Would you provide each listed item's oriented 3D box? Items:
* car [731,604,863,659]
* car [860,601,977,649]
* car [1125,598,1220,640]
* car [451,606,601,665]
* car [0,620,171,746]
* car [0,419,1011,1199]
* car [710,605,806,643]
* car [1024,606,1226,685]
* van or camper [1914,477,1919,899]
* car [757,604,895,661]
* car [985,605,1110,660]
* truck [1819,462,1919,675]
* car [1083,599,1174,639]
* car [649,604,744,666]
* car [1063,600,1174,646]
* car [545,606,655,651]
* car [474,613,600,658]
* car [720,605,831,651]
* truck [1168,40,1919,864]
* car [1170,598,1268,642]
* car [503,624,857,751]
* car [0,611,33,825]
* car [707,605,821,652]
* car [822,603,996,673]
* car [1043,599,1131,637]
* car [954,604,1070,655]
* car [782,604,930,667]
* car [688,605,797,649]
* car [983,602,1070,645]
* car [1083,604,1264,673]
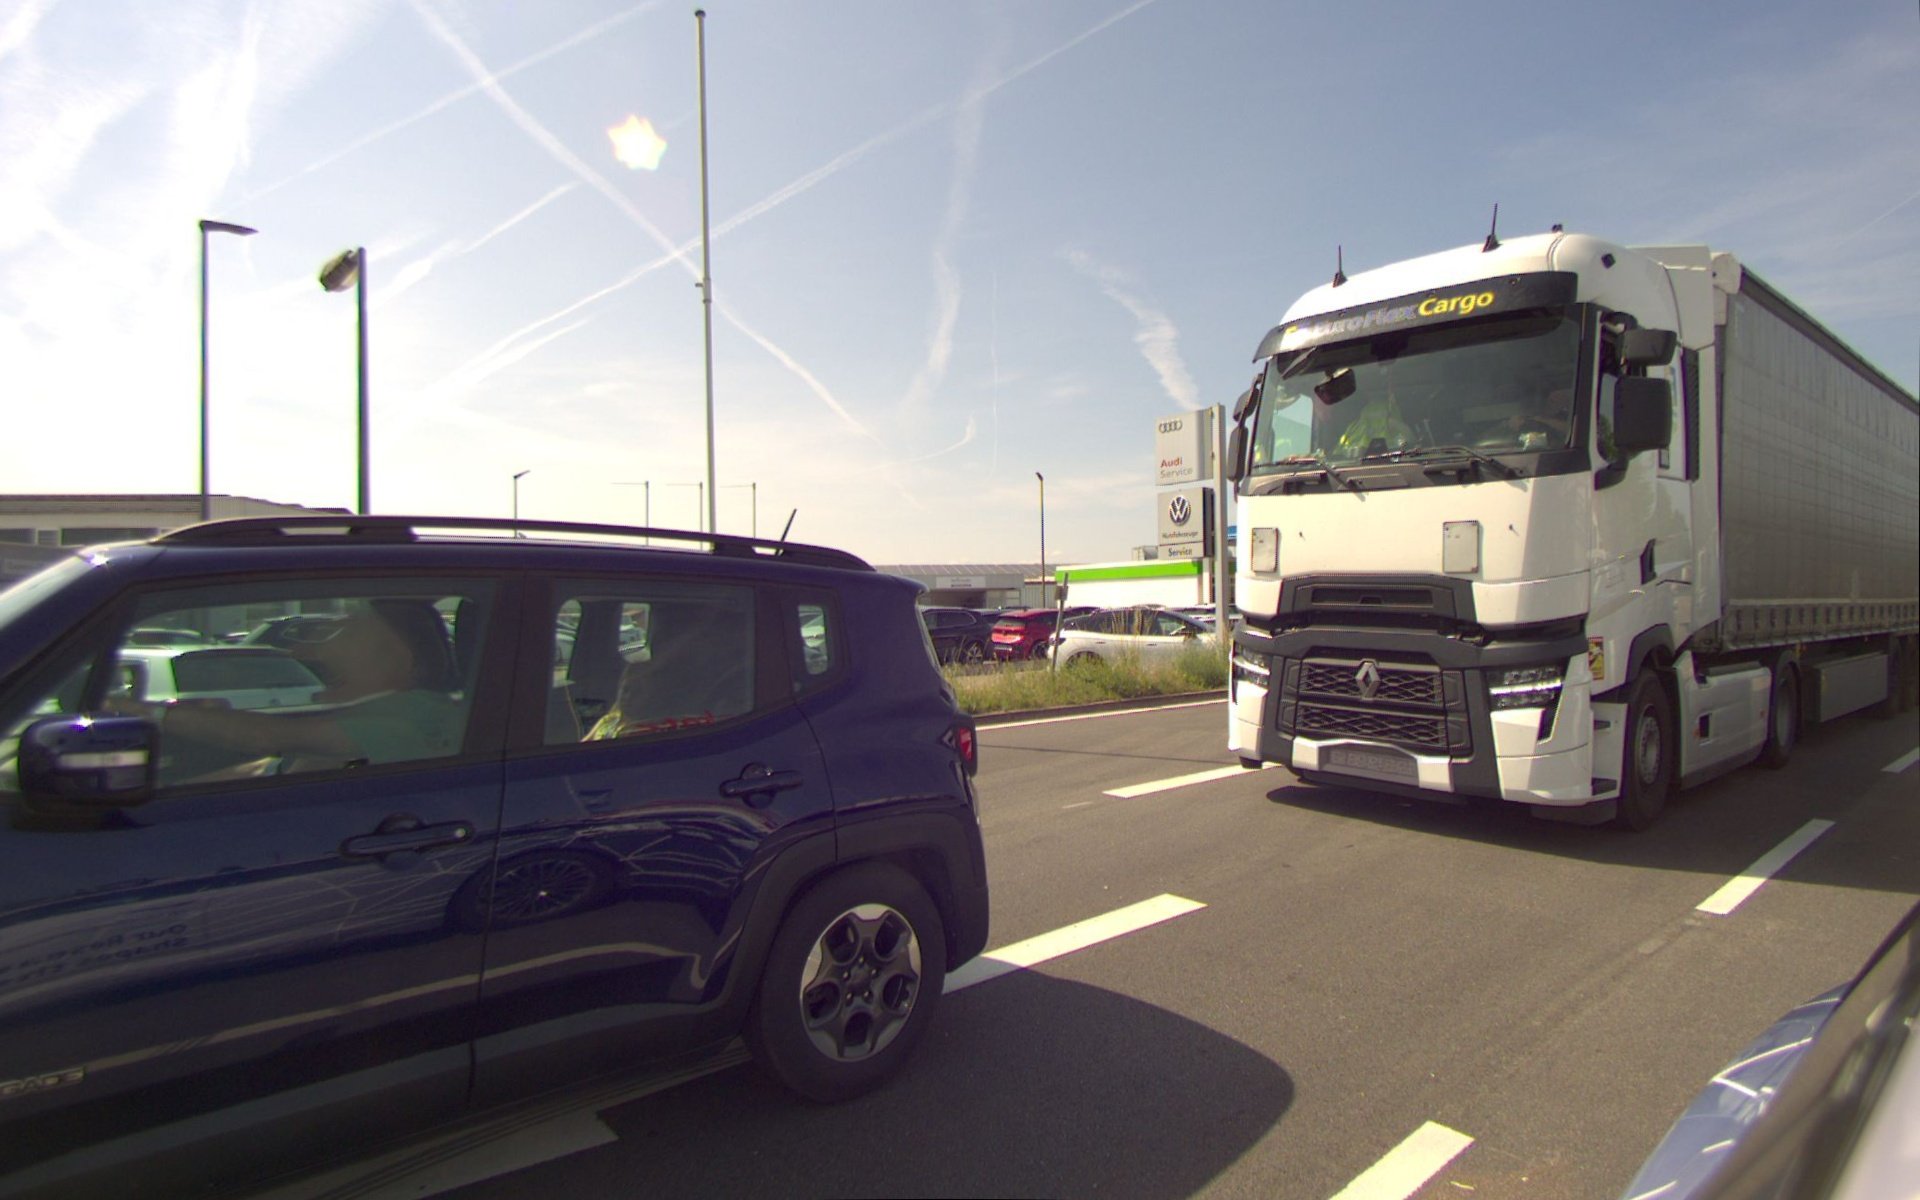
[{"bbox_3d":[-5.267,0.973,32.919,3.895,1.638,1.709,0,0,-37],"label":"car"},{"bbox_3d":[-1.456,0.850,36.298,3.894,1.638,1.709,0,0,-35],"label":"car"},{"bbox_3d":[8.668,0.736,41.185,3.930,1.594,1.787,0,0,-41],"label":"car"},{"bbox_3d":[-13.698,1.087,32.163,4.143,1.777,1.911,0,-1,-15],"label":"car"},{"bbox_3d":[-14.464,1.215,15.138,4.157,1.777,1.905,0,-1,-40],"label":"car"},{"bbox_3d":[-1.910,0.531,2.677,3.930,1.706,1.822,0,1,-41],"label":"car"},{"bbox_3d":[-9.039,1.037,45.412,3.895,1.638,1.709,0,0,-37],"label":"car"},{"bbox_3d":[3.245,0.840,19.905,3.624,1.420,1.724,0,0,24],"label":"car"},{"bbox_3d":[6.970,0.461,5.425,5.194,2.039,1.998,0,0,-39],"label":"van or camper"},{"bbox_3d":[-4.092,0.948,31.165,3.895,1.638,1.709,0,0,-37],"label":"car"},{"bbox_3d":[2.596,0.909,29.675,3.530,1.426,1.562,-1,2,-38],"label":"car"},{"bbox_3d":[21.676,-0.597,21.656,10.938,3.859,2.886,0,0,-38],"label":"truck"},{"bbox_3d":[7.229,0.766,43.197,3.930,1.594,1.787,0,0,-41],"label":"car"},{"bbox_3d":[-7.750,0.950,29.538,1.959,1.638,4.006,0,0,-26],"label":"car"},{"bbox_3d":[5.904,0.826,38.051,1.757,1.594,3.997,0,0,-38],"label":"car"},{"bbox_3d":[-14.940,1.173,42.189,4.143,1.777,1.911,0,-1,-14],"label":"car"},{"bbox_3d":[-15.366,1.250,36.998,4.143,1.526,1.987,0,-1,-19],"label":"car"},{"bbox_3d":[-6.447,0.945,35.472,3.530,1.426,1.562,-1,2,-38],"label":"car"},{"bbox_3d":[8.821,-0.837,11.617,16.408,4.320,2.897,0,0,-39],"label":"truck"},{"bbox_3d":[10.068,0.728,39.155,3.930,1.594,1.787,0,0,-41],"label":"car"},{"bbox_3d":[-3.660,1.059,13.329,4.289,1.420,1.728,0,0,18],"label":"car"},{"bbox_3d":[-9.083,0.870,7.368,3.983,1.555,1.728,0,0,18],"label":"car"},{"bbox_3d":[-7.354,1.029,38.144,3.895,1.638,1.709,0,0,-37],"label":"car"},{"bbox_3d":[-1.315,0.935,26.700,4.202,1.678,1.999,0,0,-37],"label":"car"},{"bbox_3d":[5.716,0.781,45.417,3.930,1.594,1.787,0,0,-41],"label":"car"},{"bbox_3d":[1.667,0.895,31.930,3.530,1.426,1.562,-1,2,-38],"label":"car"},{"bbox_3d":[-2.906,0.953,28.609,3.756,1.638,1.857,0,0,-37],"label":"car"},{"bbox_3d":[-8.581,1.045,40.055,3.895,1.638,1.709,0,0,-37],"label":"car"},{"bbox_3d":[2.722,0.947,42.062,1.721,1.672,3.651,0,0,-35],"label":"car"},{"bbox_3d":[4.694,0.796,22.241,3.624,1.420,1.724,0,0,24],"label":"car"}]
